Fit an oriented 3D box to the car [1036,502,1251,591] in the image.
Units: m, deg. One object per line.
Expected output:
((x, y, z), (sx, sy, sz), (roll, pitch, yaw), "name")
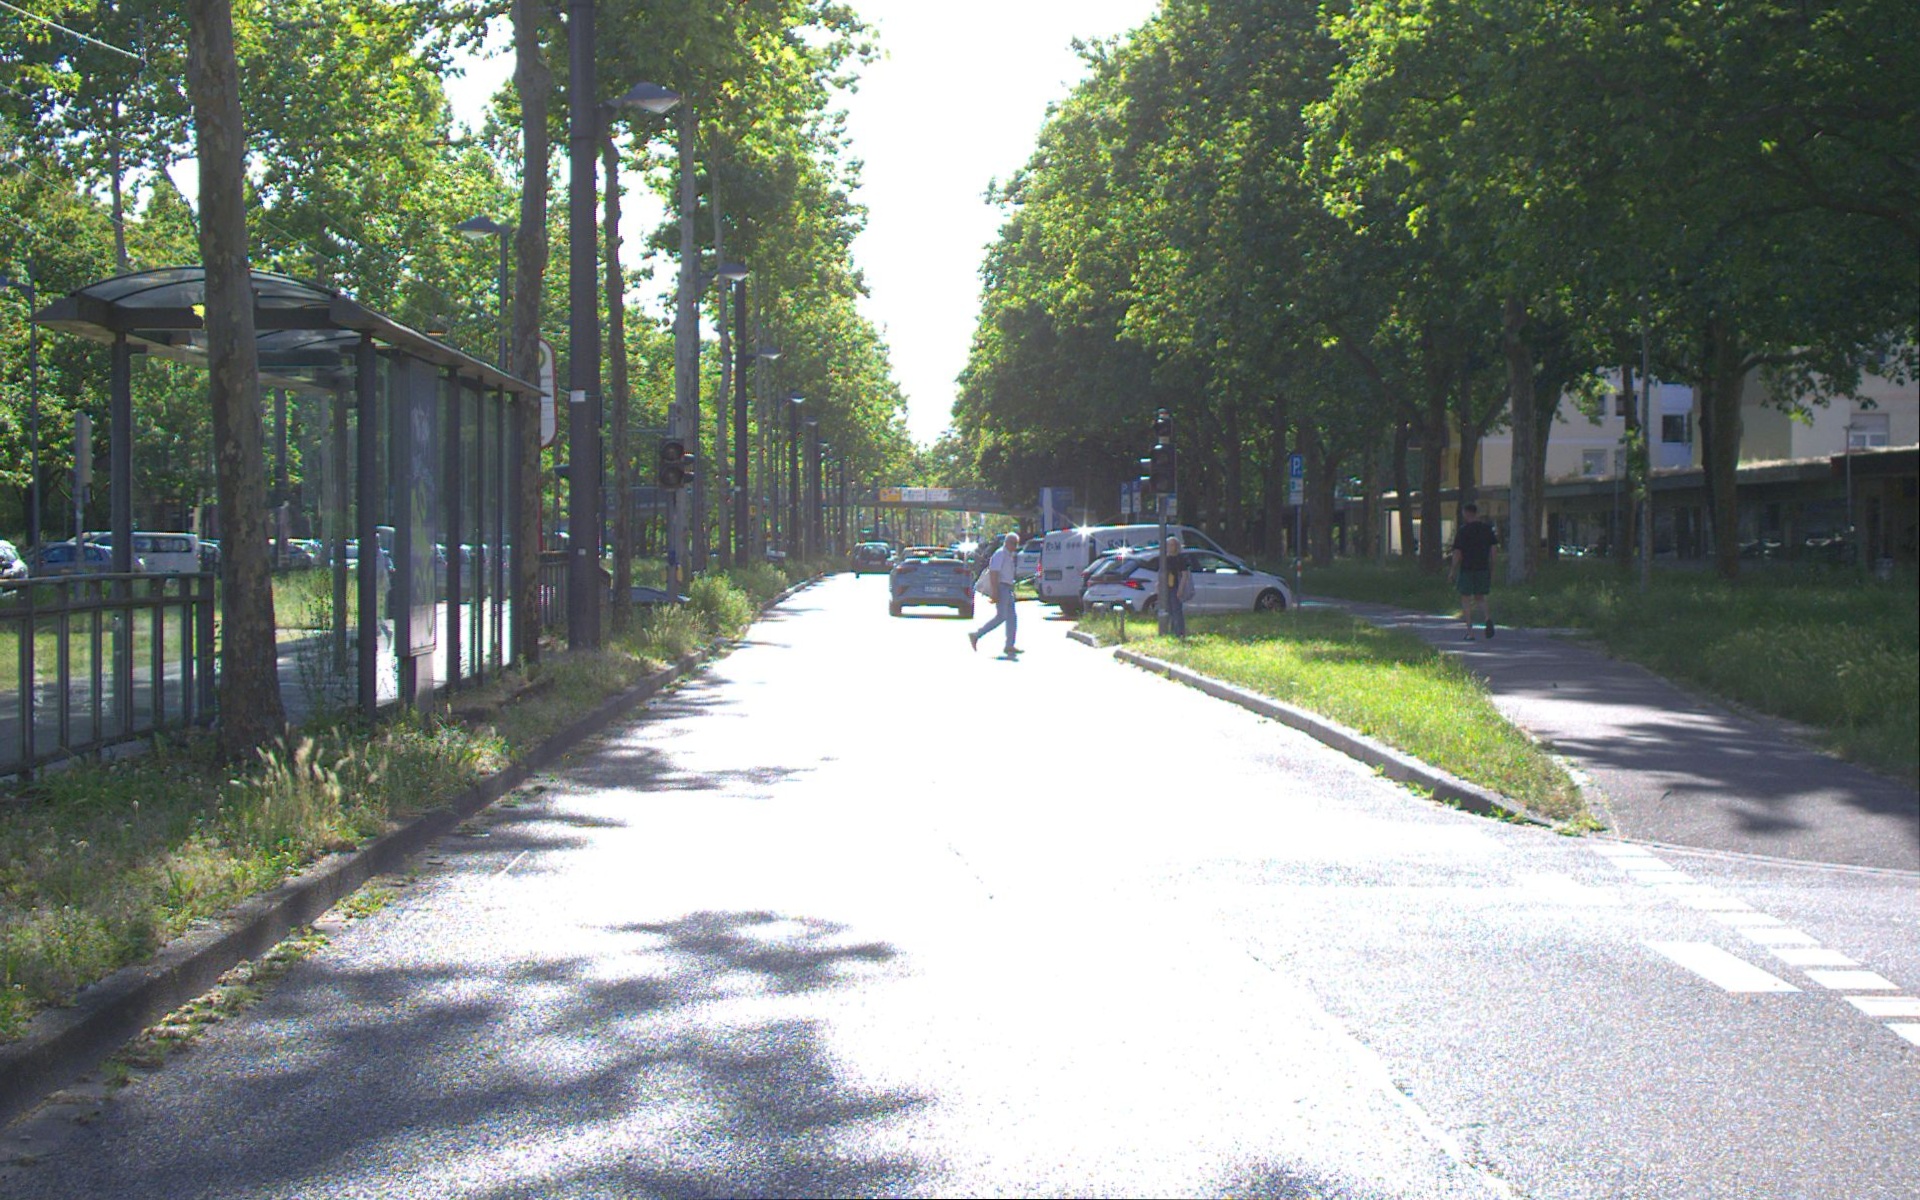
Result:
((3.982, -1.171, 74.174), (4.657, 1.846, 1.830), (-2, 1, -41), "car")

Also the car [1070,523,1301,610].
((4.219, -0.639, 64.082), (3.986, 1.464, 1.761), (-3, 2, -32), "car")

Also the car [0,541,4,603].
((-24.708, -0.699, 80.703), (1.650, 1.470, 4.075), (7, 5, 42), "car")

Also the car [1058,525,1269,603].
((4.194, -0.747, 70.685), (3.986, 1.424, 1.799), (-3, 2, -32), "car")

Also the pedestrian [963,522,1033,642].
((0.551, -0.270, 49.863), (0.842, 1.716, 0.829), (0, 1, 14), "pedestrian")

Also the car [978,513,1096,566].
((2.717, -2.128, 120.648), (4.073, 1.804, 1.650), (-2, 1, -41), "car")

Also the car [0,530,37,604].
((-20.803, -0.699, 72.202), (1.714, 1.540, 3.933), (0, 1, 1), "car")

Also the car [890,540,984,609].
((-0.523, -0.573, 74.517), (1.922, 1.406, 4.000), (1, 1, -2), "car")

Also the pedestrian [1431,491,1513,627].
((7.156, -0.574, 48.051), (0.799, 1.878, 0.926), (1, 1, 33), "pedestrian")

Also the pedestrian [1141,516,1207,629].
((3.254, -0.422, 52.316), (0.710, 1.700, 0.654), (-2, 1, -35), "pedestrian")

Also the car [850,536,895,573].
((-3.728, -1.940, 146.546), (1.849, 1.530, 3.866), (0, 1, -1), "car")

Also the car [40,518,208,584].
((-26.379, -1.545, 108.529), (4.784, 1.999, 1.892), (0, 3, -39), "car")

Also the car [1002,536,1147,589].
((3.090, -1.019, 92.311), (3.928, 1.368, 1.587), (-2, 1, -44), "car")

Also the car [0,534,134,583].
((-27.348, -1.250, 104.554), (4.074, 1.427, 1.578), (-1, 0, -43), "car")

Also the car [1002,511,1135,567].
((3.392, -1.909, 106.936), (4.017, 1.699, 1.760), (-2, 1, -42), "car")
